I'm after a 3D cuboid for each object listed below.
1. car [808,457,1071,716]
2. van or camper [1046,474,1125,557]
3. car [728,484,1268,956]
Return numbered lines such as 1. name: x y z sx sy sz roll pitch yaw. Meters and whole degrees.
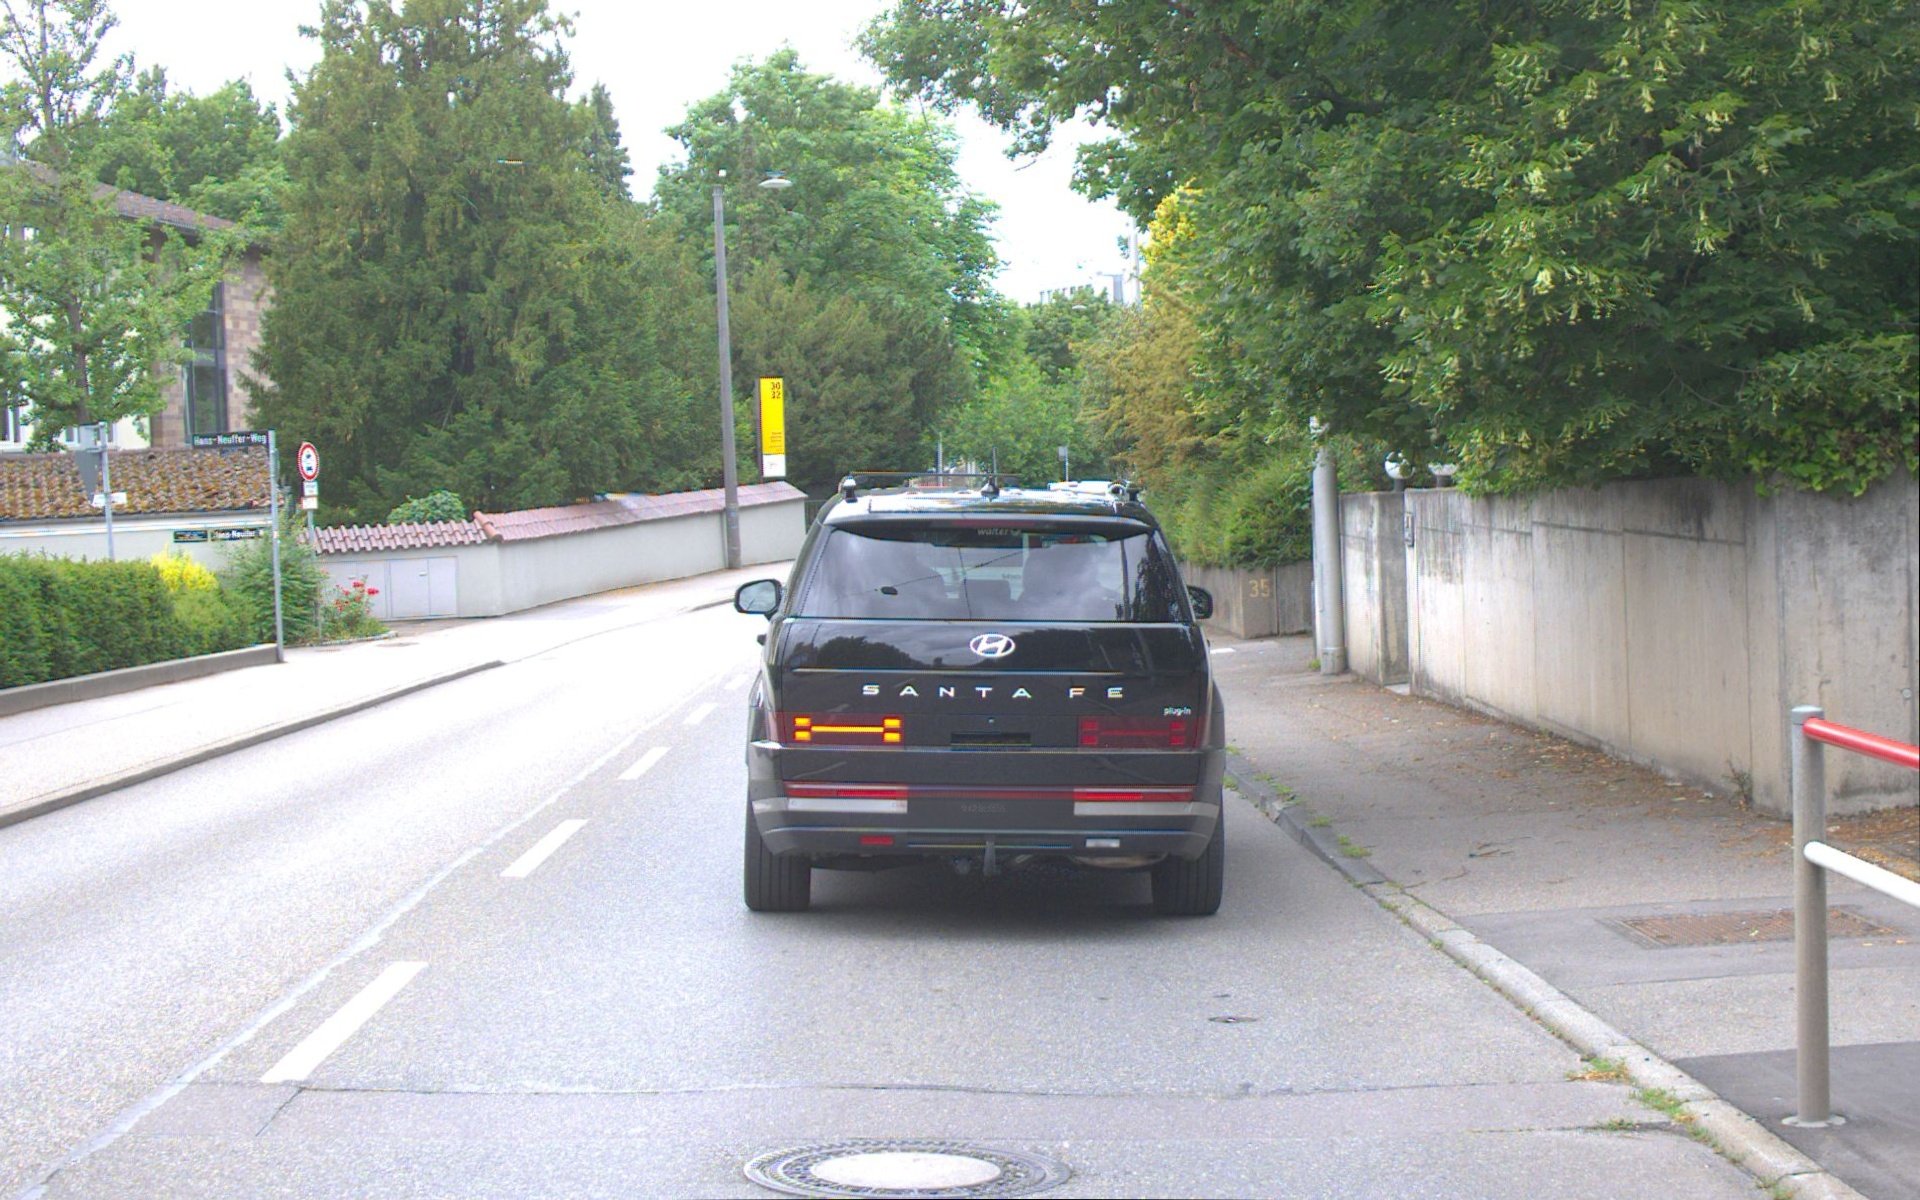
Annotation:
1. car: -0.094 -0.193 29.028 1.957 1.949 4.223 1 3 3
2. van or camper: 3.347 -2.260 91.152 1.676 2.000 3.937 -2 3 7
3. car: 0.118 0.383 14.687 1.957 1.707 4.224 1 2 -1
